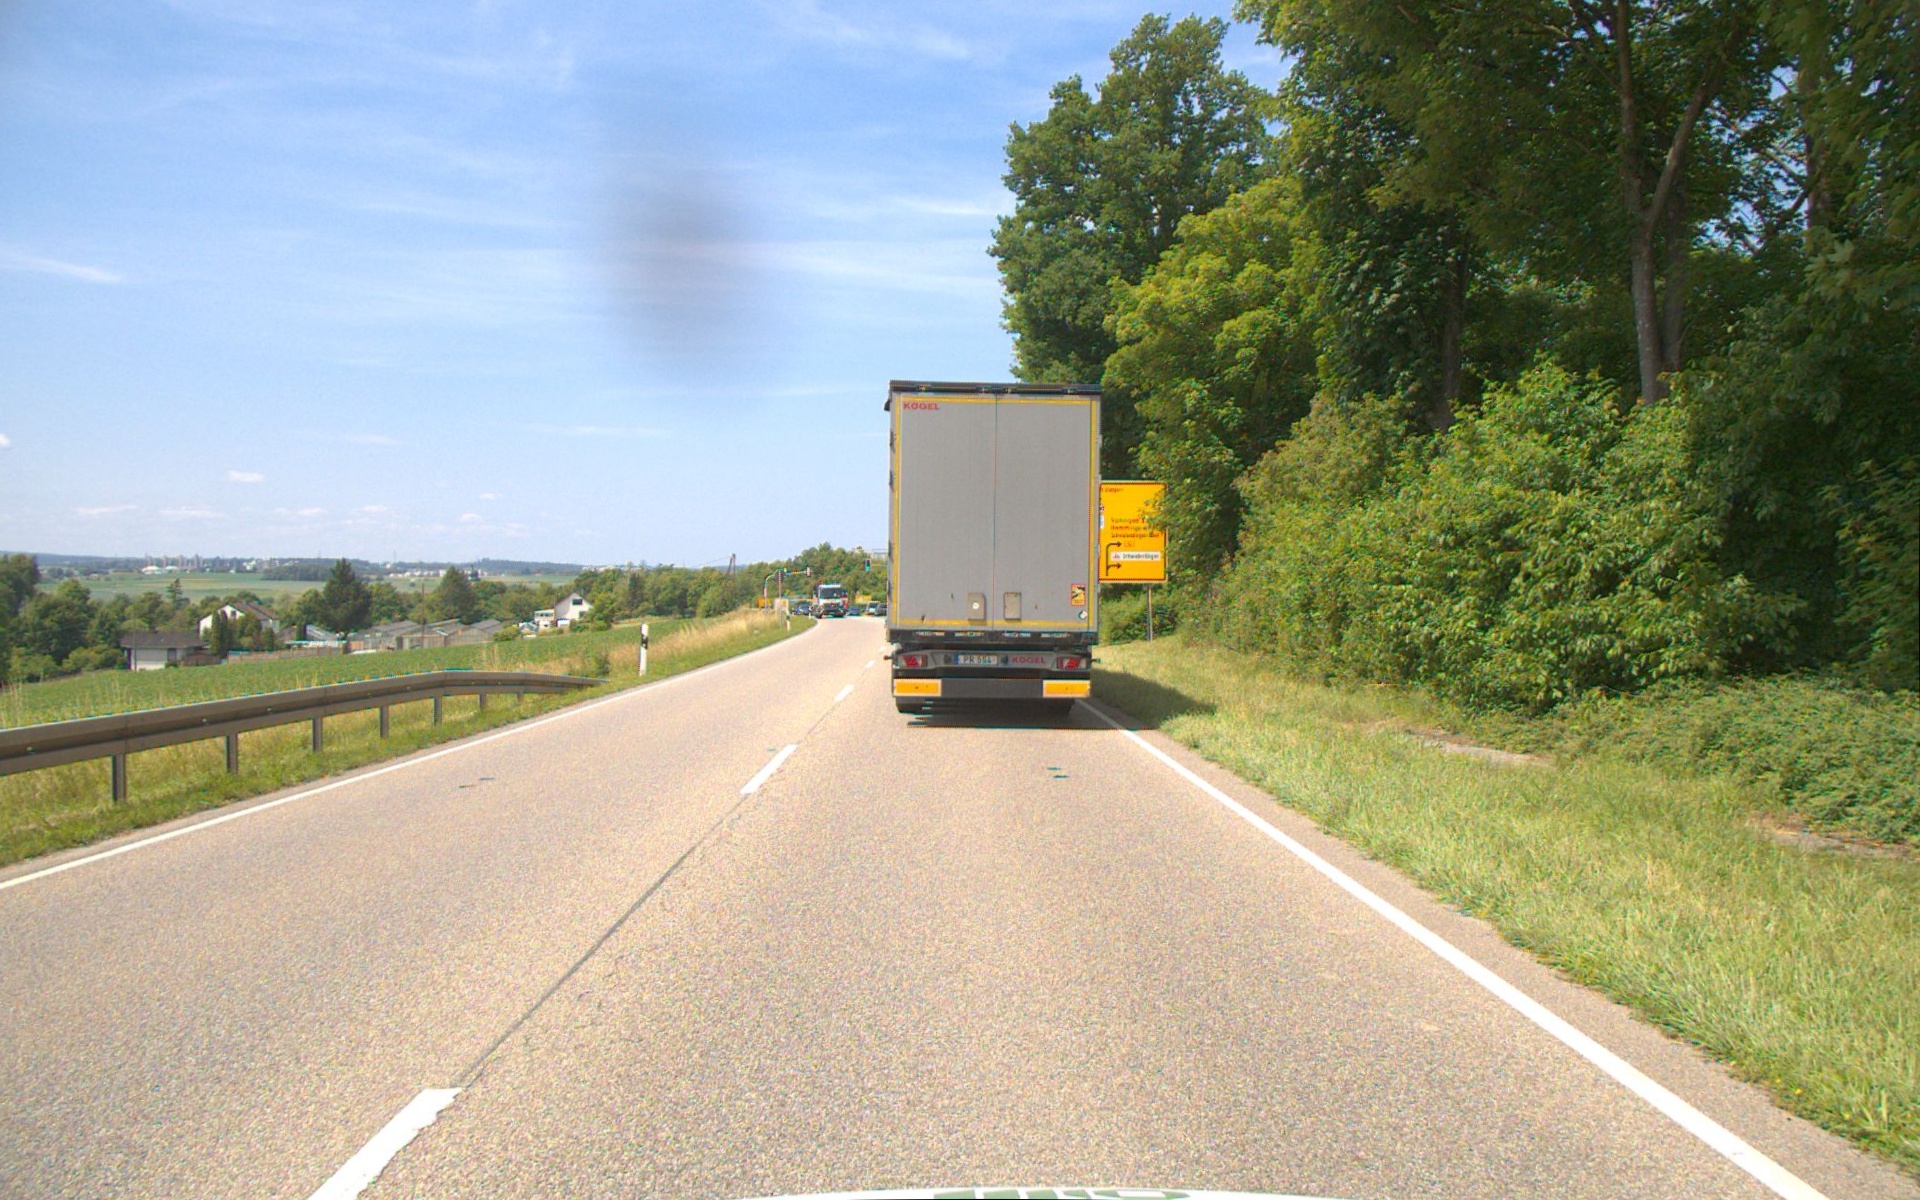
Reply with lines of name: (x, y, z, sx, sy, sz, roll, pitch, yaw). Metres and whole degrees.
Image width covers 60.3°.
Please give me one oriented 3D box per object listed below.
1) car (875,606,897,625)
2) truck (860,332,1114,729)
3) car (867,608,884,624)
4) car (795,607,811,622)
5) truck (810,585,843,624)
car: (-8.418, 1.697, 186.940, 2.129, 2.049, 4.520, -2, 0, -6)
truck: (0.095, -0.784, 23.281, 2.849, 4.487, 8.854, 1, 0, -3)
car: (-10.273, 1.924, 200.725, 1.856, 1.808, 4.380, -2, 0, -6)
car: (-22.221, 2.033, 234.316, 1.956, 1.984, 4.494, -2, 0, -8)
truck: (-13.303, 0.534, 164.422, 2.704, 3.638, 11.047, -2, -1, -7)
